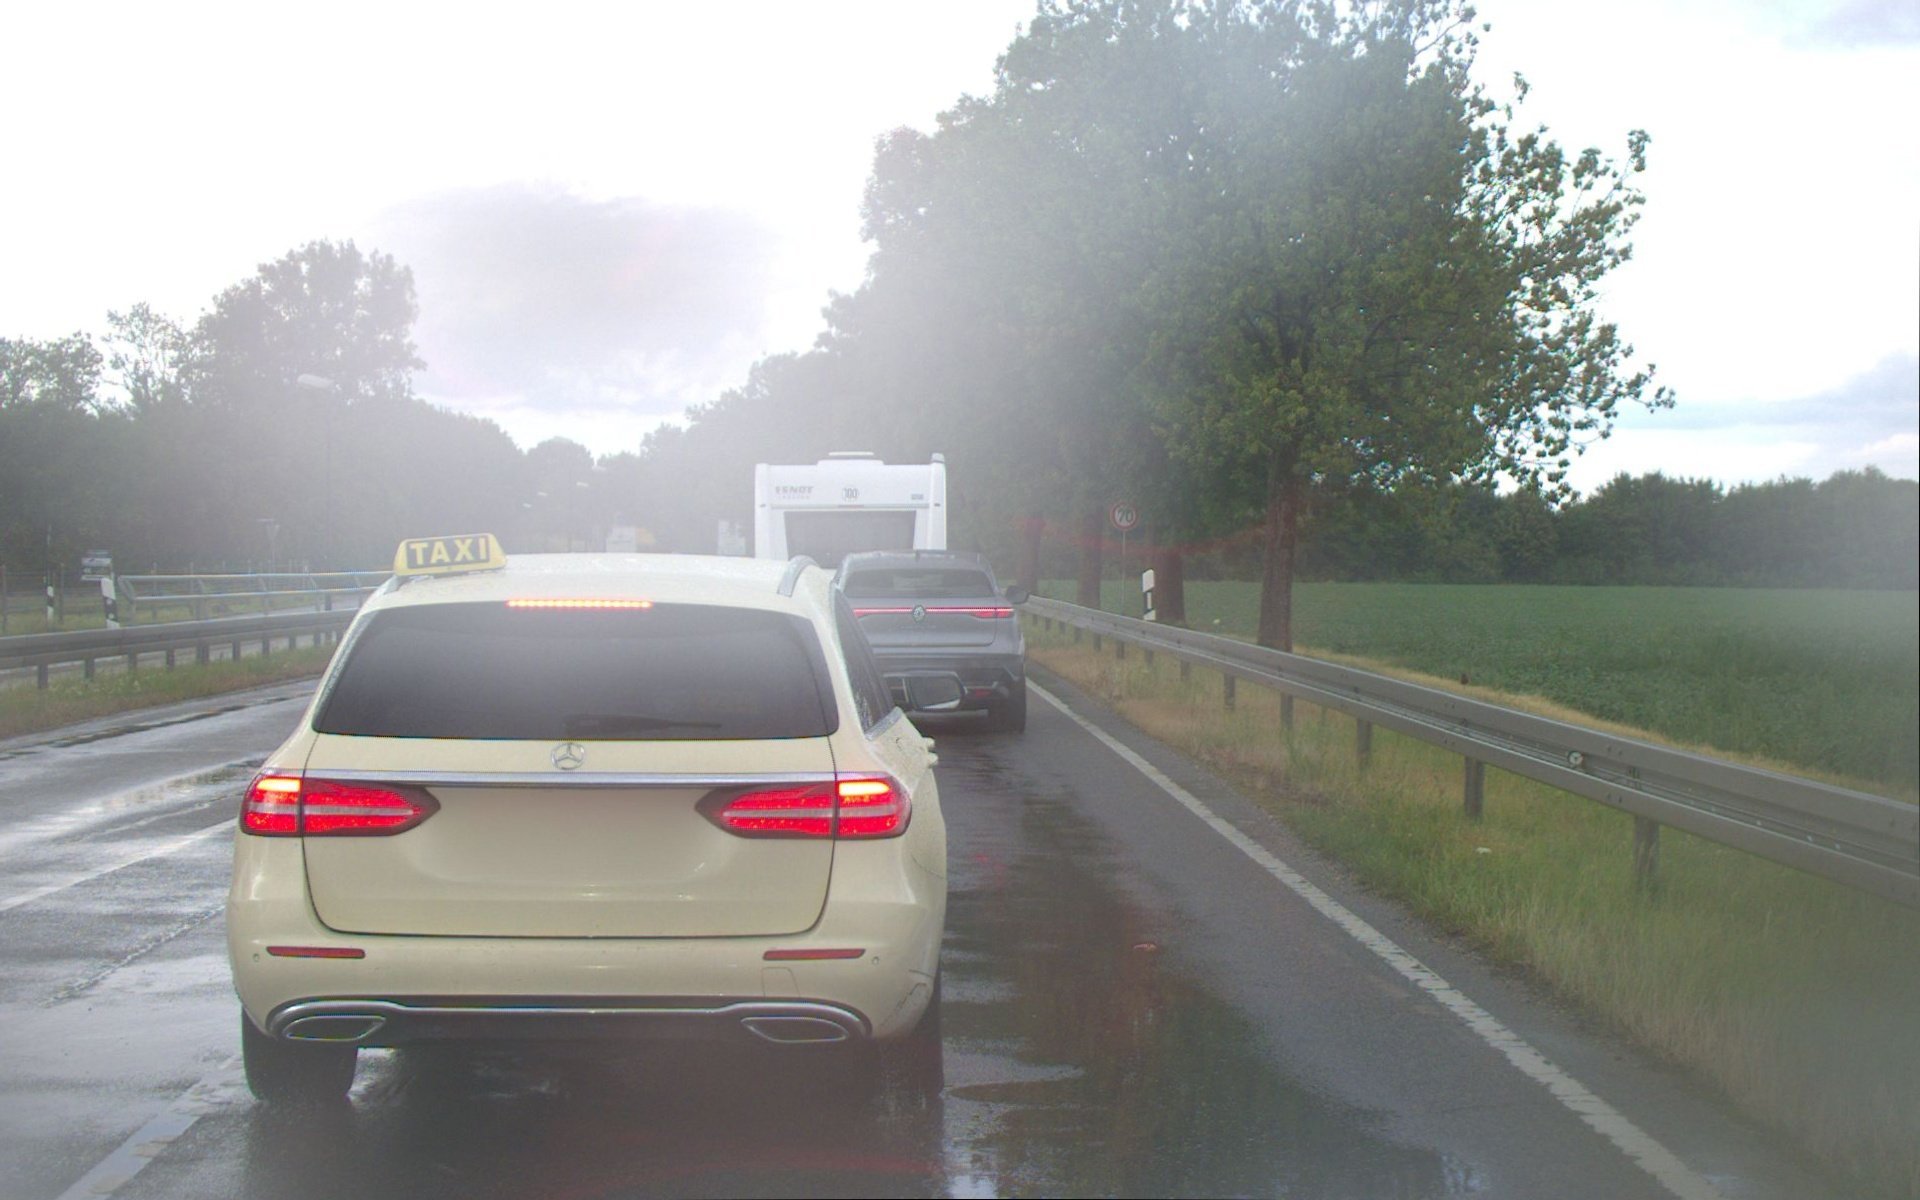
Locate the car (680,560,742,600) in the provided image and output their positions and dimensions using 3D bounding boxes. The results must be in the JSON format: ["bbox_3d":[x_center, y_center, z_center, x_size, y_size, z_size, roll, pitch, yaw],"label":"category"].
[{"bbox_3d":[-8.100,-0.658,111.992,1.758,1.265,4.000,0,1,-1],"label":"car"}]

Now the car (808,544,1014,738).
[{"bbox_3d":[-0.412,0.294,29.241,1.627,1.524,3.933,0,1,-1],"label":"car"}]

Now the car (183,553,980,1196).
[{"bbox_3d":[-0.860,0.603,9.988,1.825,1.480,4.145,0,1,0],"label":"car"}]

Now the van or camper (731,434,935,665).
[{"bbox_3d":[-1.512,-0.651,42.890,2.350,2.671,5.769,1,1,-1],"label":"van or camper"}]

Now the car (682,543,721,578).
[{"bbox_3d":[-15.515,-2.382,206.305,1.993,2.044,4.000,1,1,0],"label":"car"}]
